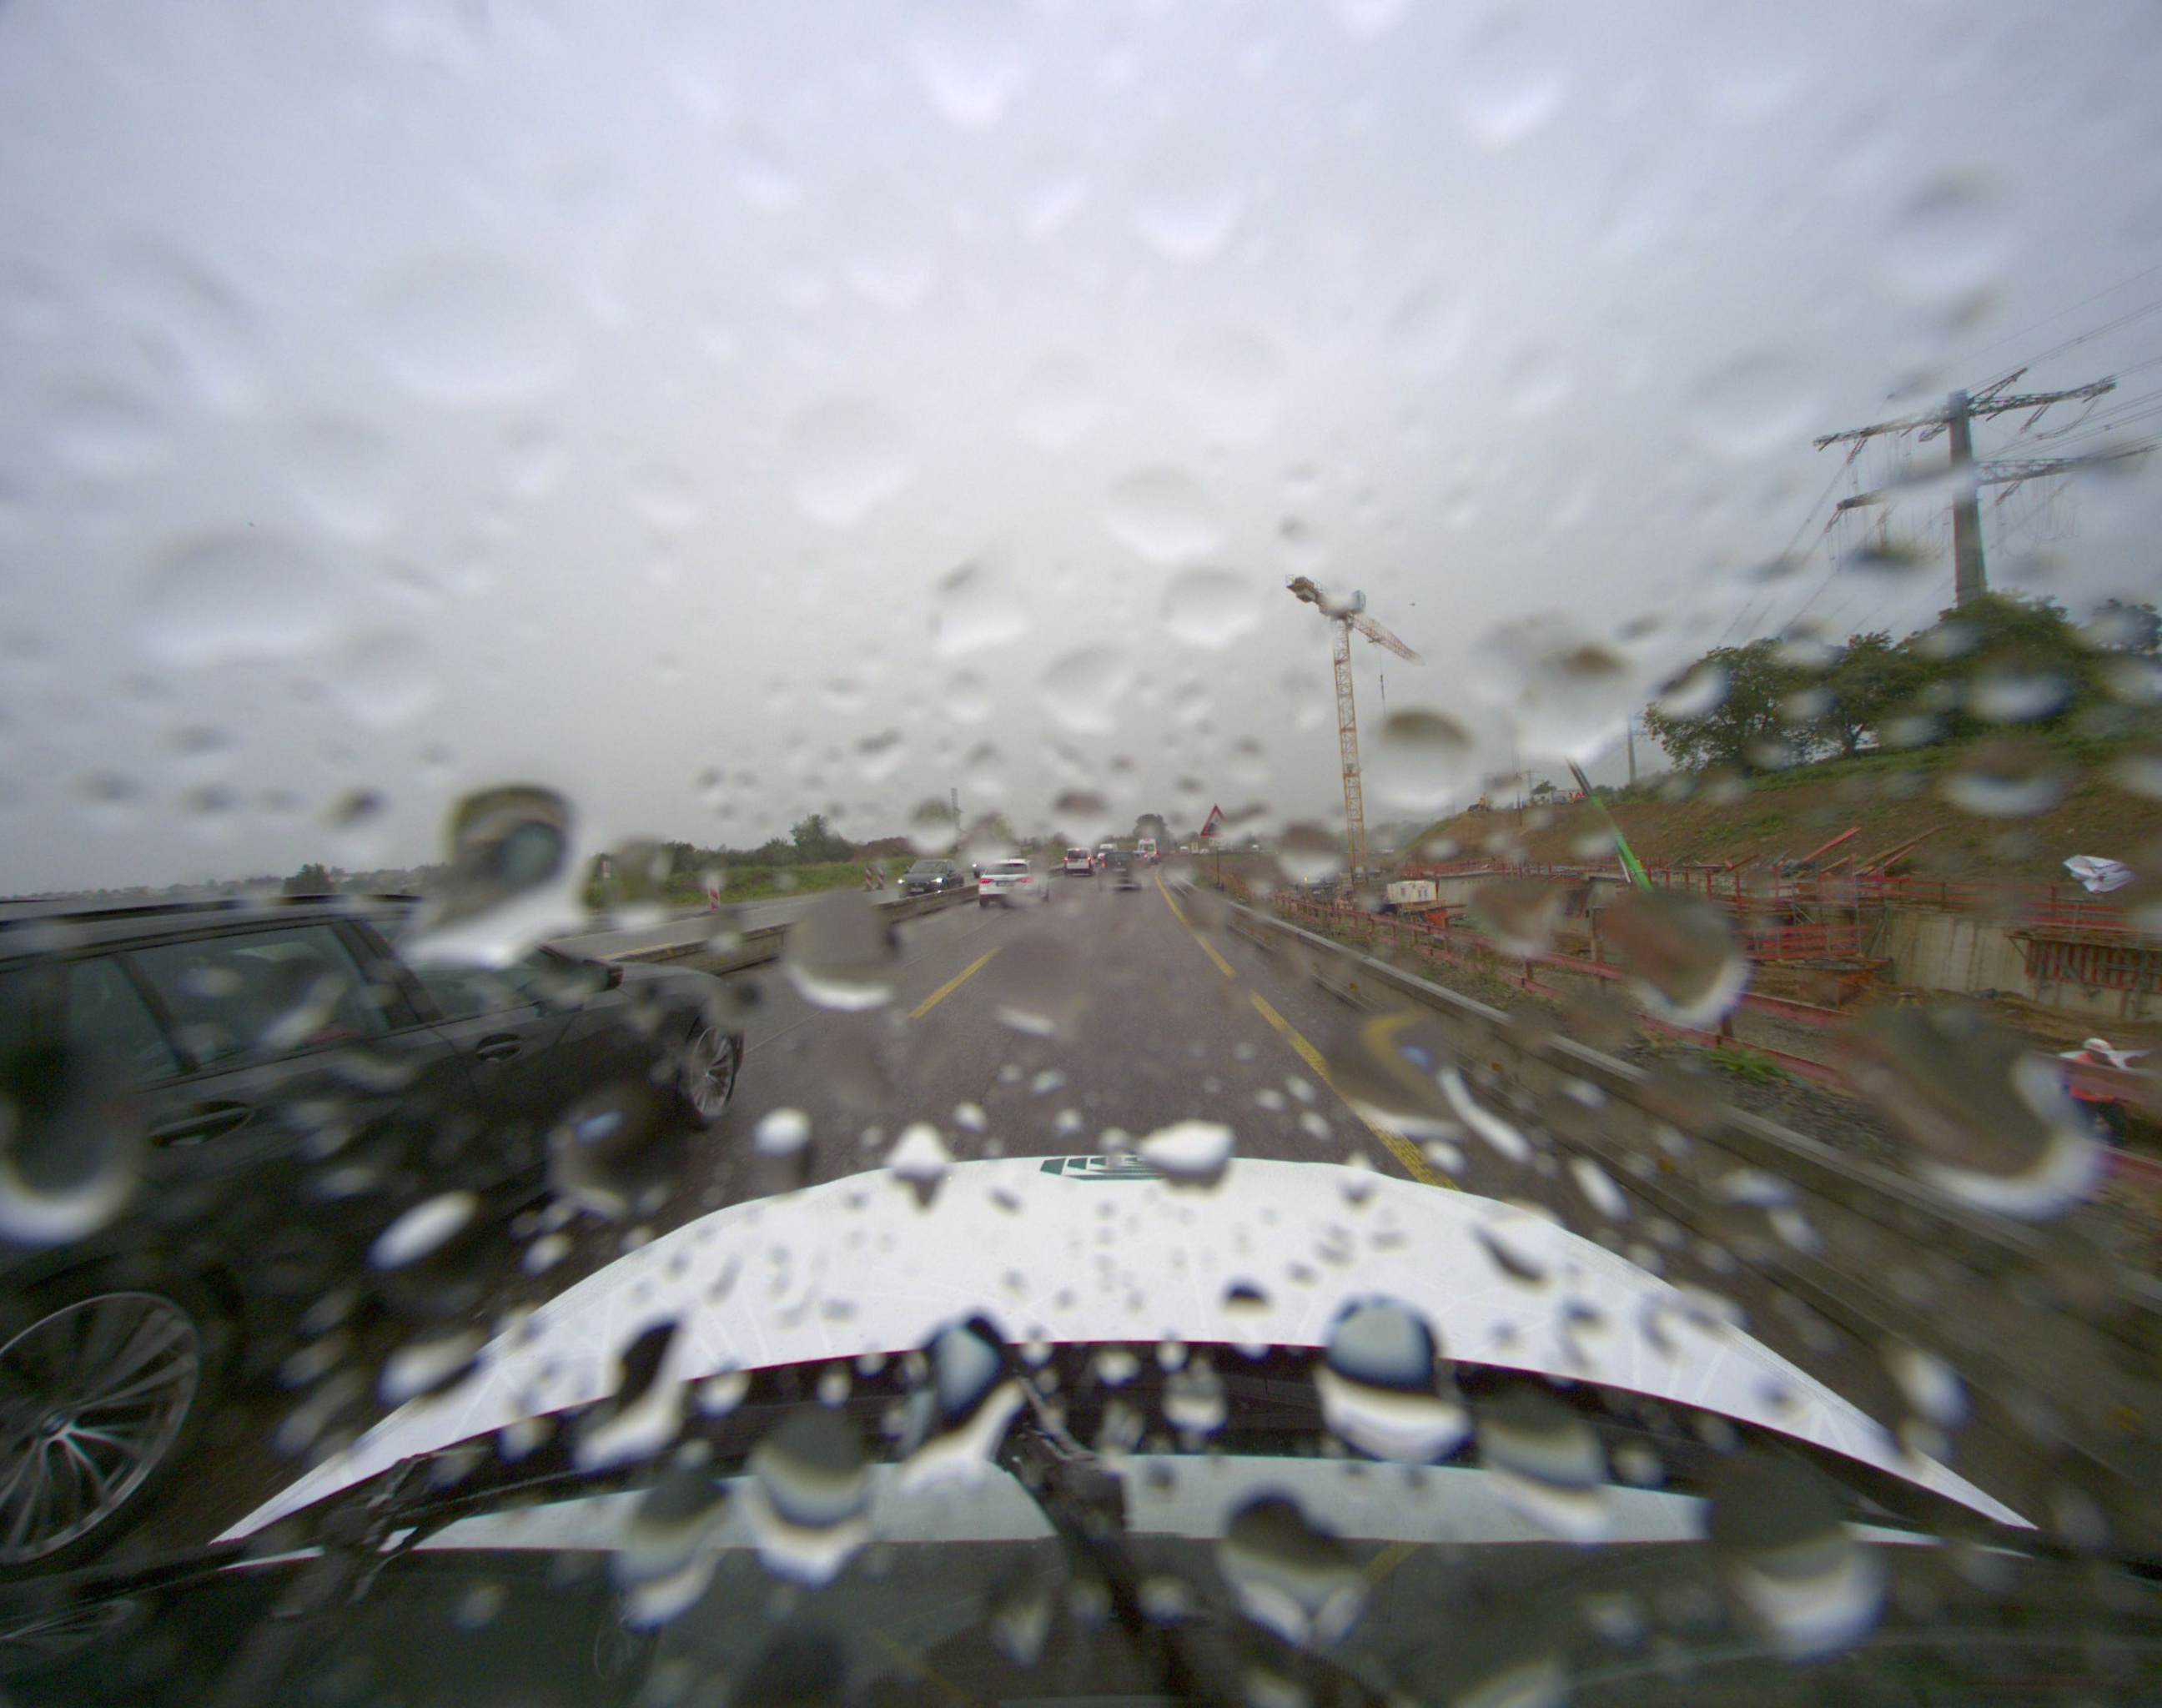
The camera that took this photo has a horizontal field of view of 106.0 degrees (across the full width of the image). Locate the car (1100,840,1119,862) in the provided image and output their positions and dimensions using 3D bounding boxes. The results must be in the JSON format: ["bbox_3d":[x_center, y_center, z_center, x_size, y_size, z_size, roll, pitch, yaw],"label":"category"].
[{"bbox_3d":[4.044,-0.411,113.683,1.983,3.045,7.185,0,0,7],"label":"car"}]

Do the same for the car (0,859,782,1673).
[{"bbox_3d":[-2.964,0.860,2.612,1.728,1.462,5.632,-1,2,2],"label":"car"}]

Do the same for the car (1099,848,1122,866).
[{"bbox_3d":[3.031,0.305,82.572,1.816,1.815,4.010,-1,-1,9],"label":"car"}]

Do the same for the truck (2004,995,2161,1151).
[{"bbox_3d":[16.532,3.356,11.042,1.754,1.871,5.794,-3,-1,5],"label":"truck"}]

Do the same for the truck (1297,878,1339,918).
[{"bbox_3d":[22.805,4.151,78.661,2.684,3.503,8.969,-1,-1,9],"label":"truck"}]

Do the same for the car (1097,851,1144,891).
[{"bbox_3d":[1.755,0.714,35.074,1.818,1.591,4.005,0,-1,5],"label":"car"}]

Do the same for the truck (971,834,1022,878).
[{"bbox_3d":[-6.024,0.119,58.981,2.347,2.894,6.559,-2,0,6],"label":"truck"}]

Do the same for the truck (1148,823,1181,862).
[{"bbox_3d":[11.756,-1.472,113.508,3.520,5.077,10.474,-1,-1,11],"label":"truck"}]

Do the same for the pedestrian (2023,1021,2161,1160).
[{"bbox_3d":[15.022,3.492,12.133,0.929,1.799,0.811,-3,-1,3],"label":"pedestrian"}]

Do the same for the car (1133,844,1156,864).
[{"bbox_3d":[5.962,-0.005,75.955,1.816,1.815,4.009,0,-1,8],"label":"car"}]

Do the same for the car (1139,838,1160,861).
[{"bbox_3d":[7.570,-0.499,89.658,1.814,2.437,4.171,-1,-1,12],"label":"car"}]

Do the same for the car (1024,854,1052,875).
[{"bbox_3d":[-3.022,0.735,57.768,1.631,1.396,3.595,0,0,3],"label":"car"}]

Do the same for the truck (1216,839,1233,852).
[{"bbox_3d":[41.215,-2.506,233.119,3.444,3.715,8.457,-2,0,18],"label":"truck"}]

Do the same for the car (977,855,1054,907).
[{"bbox_3d":[-1.976,0.798,25.758,1.818,1.499,4.004,0,-1,4],"label":"car"}]

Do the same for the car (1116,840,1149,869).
[{"bbox_3d":[3.340,0.054,52.375,1.816,1.815,4.009,0,-1,8],"label":"car"}]

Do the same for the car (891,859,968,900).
[{"bbox_3d":[-5.717,0.930,31.335,1.818,1.443,4.701,-1,-1,3],"label":"car"}]

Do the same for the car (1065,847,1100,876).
[{"bbox_3d":[0.124,0.478,53.455,1.817,1.815,4.007,0,-1,7],"label":"car"}]

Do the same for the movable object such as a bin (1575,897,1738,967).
[{"bbox_3d":[25.114,3.438,35.904,3.775,2.805,4.858,-2,-5,4],"label":"movable object such as a bin"}]
